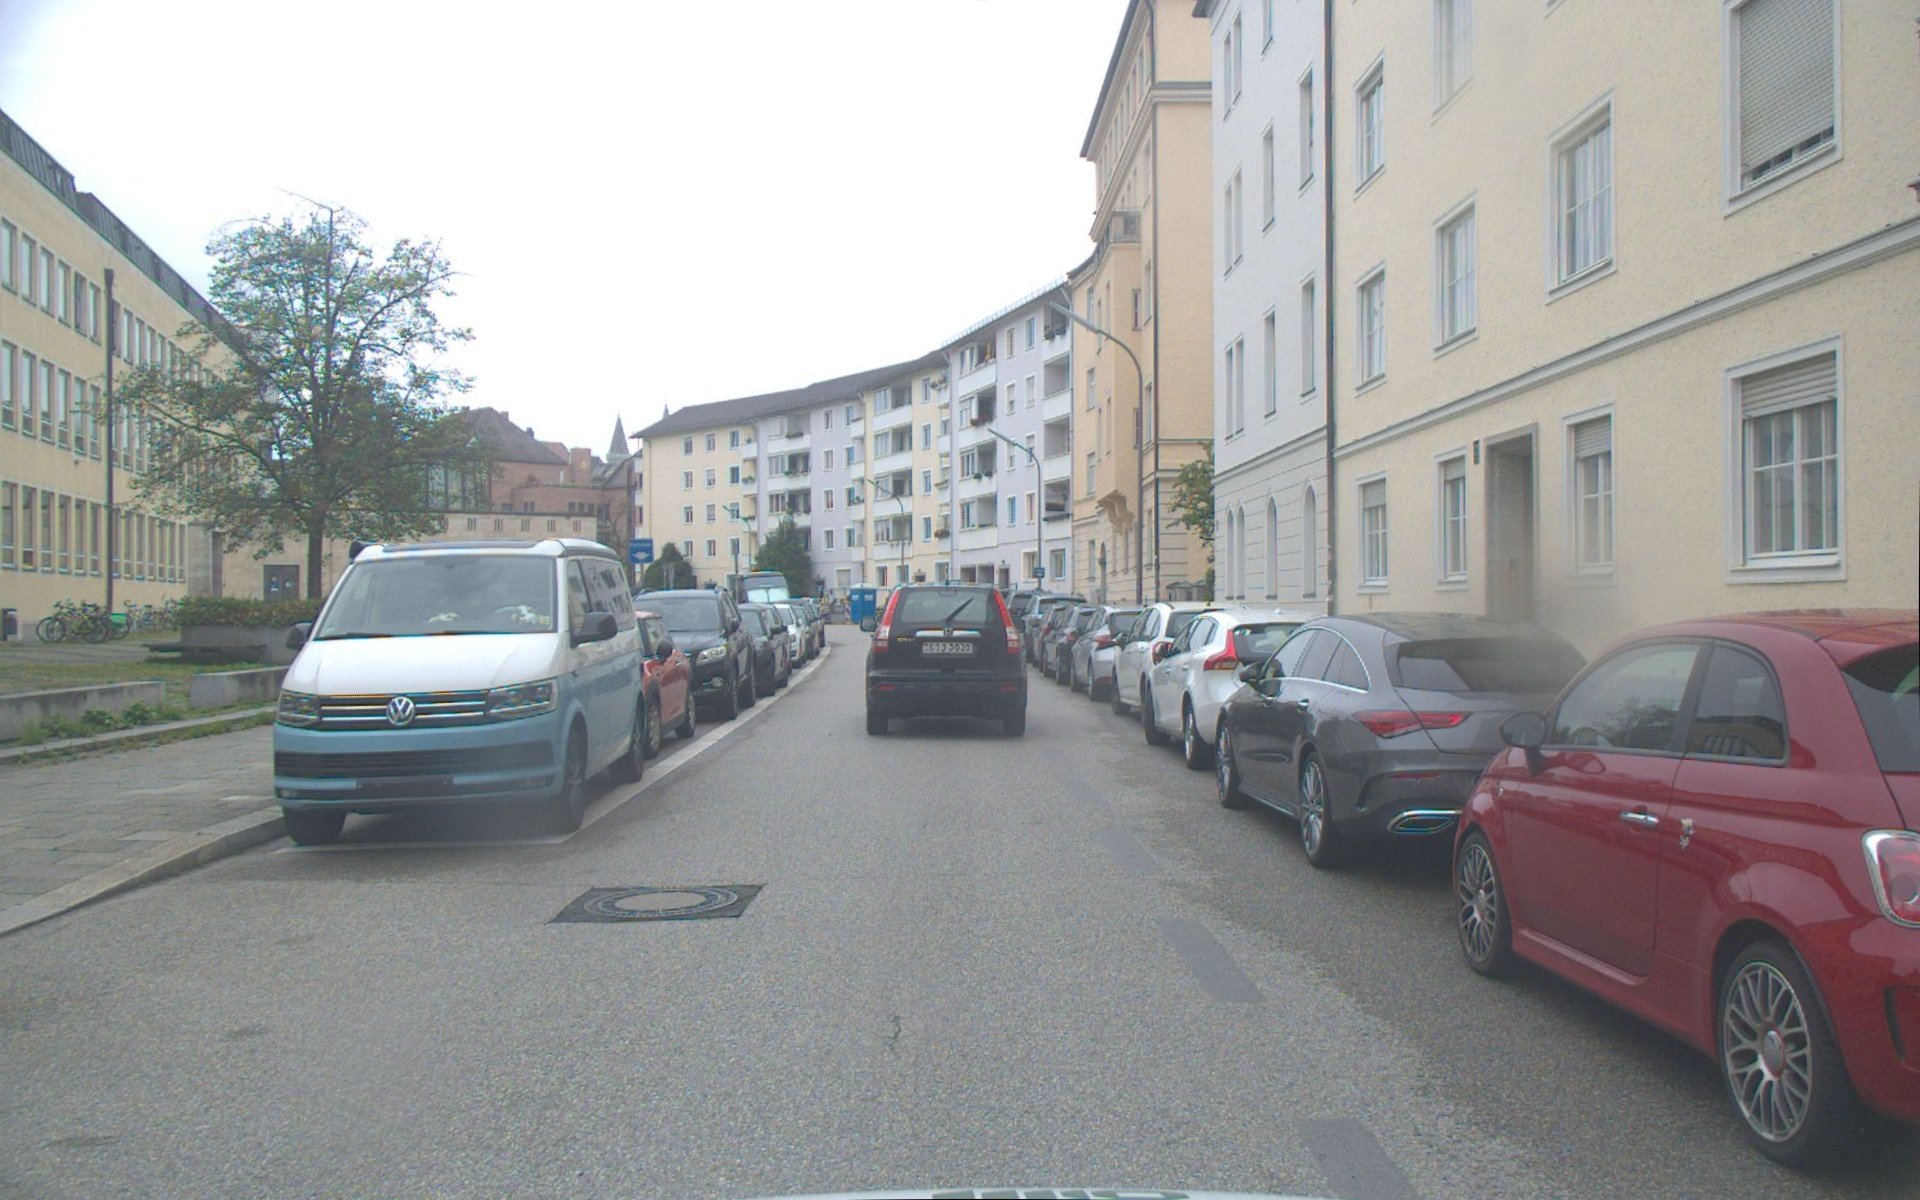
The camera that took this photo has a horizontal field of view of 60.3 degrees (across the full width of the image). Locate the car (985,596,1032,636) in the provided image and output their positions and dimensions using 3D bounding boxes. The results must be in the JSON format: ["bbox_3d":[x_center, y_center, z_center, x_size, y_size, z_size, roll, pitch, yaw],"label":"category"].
[{"bbox_3d":[1.855,0.615,63.774,1.673,1.472,3.829,1,0,0],"label":"car"}]

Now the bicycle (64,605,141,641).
[{"bbox_3d":[-25.239,0.662,48.702,1.914,1.032,0.623,0,0,-15],"label":"bicycle"}]

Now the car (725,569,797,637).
[{"bbox_3d":[-8.444,0.126,69.685,2.128,2.688,5.993,-2,0,-15],"label":"car"}]

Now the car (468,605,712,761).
[{"bbox_3d":[-3.689,0.765,17.147,1.708,1.411,3.917,0,0,-1],"label":"car"}]

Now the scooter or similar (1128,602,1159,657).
[{"bbox_3d":[3.971,0.635,35.786,0.475,1.184,1.171,0,-1,-4],"label":"scooter or similar"}]

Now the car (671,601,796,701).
[{"bbox_3d":[-3.734,0.797,27.806,1.646,1.479,3.868,-2,0,-2],"label":"car"}]

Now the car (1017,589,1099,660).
[{"bbox_3d":[2.406,0.590,41.634,1.687,1.663,4.456,0,0,-2],"label":"car"}]

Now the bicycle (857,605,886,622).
[{"bbox_3d":[-5.781,0.861,107.933,1.841,1.110,0.561,0,0,-23],"label":"bicycle"}]

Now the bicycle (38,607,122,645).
[{"bbox_3d":[-24.128,0.712,45.360,1.912,1.032,0.624,0,0,-12],"label":"bicycle"}]

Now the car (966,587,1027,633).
[{"bbox_3d":[1.487,0.395,68.608,1.745,1.838,4.266,1,0,-9],"label":"car"}]

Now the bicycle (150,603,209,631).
[{"bbox_3d":[-29.488,0.639,62.476,1.912,1.032,0.624,0,0,-12],"label":"bicycle"}]

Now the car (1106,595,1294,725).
[{"bbox_3d":[2.989,0.701,21.362,1.645,1.507,4.165,0,0,-3],"label":"car"}]

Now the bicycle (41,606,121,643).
[{"bbox_3d":[-25.083,0.688,47.225,1.914,1.032,0.623,0,0,-15],"label":"bicycle"}]

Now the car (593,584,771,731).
[{"bbox_3d":[-3.677,0.704,22.610,1.709,1.695,4.447,-4,0,-2],"label":"car"}]

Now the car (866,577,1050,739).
[{"bbox_3d":[-0.130,0.609,19.346,1.854,1.676,3.987,0,0,-4],"label":"car"}]

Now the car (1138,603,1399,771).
[{"bbox_3d":[2.907,0.757,16.523,1.645,1.434,4.441,0,0,-2],"label":"car"}]

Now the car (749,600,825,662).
[{"bbox_3d":[-4.528,0.787,43.750,1.720,1.479,4.393,-2,0,-3],"label":"car"}]

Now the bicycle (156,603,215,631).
[{"bbox_3d":[-28.904,0.617,61.774,1.916,1.032,0.622,0,0,-18],"label":"bicycle"}]

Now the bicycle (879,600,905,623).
[{"bbox_3d":[-4.139,0.689,100.274,0.953,1.413,2.552,0,0,-16],"label":"bicycle"}]

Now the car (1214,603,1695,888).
[{"bbox_3d":[2.865,0.745,10.642,1.645,1.434,4.420,0,0,-2],"label":"car"}]

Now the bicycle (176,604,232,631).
[{"bbox_3d":[-29.957,0.685,65.544,1.915,1.032,0.623,0,0,-16],"label":"bicycle"}]

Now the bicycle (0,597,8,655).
[{"bbox_3d":[-21.927,0.566,35.505,2.397,1.270,1.051,0,0,-18],"label":"bicycle"}]

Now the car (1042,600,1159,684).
[{"bbox_3d":[2.577,0.743,31.175,1.645,1.452,4.389,0,0,-3],"label":"car"}]

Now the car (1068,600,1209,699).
[{"bbox_3d":[2.779,0.738,26.599,1.645,1.452,4.165,0,0,-3],"label":"car"}]

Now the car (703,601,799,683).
[{"bbox_3d":[-4.111,0.791,33.051,1.624,1.479,3.971,-2,0,-4],"label":"car"}]

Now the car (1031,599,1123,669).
[{"bbox_3d":[2.528,0.709,36.516,1.645,1.452,4.085,0,0,-2],"label":"car"}]

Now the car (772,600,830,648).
[{"bbox_3d":[-5.158,0.744,53.624,1.764,1.430,4.450,-2,0,-6],"label":"car"}]

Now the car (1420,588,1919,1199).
[{"bbox_3d":[3.039,0.733,5.858,1.645,1.524,3.822,0,0,-2],"label":"car"}]

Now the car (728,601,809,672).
[{"bbox_3d":[-4.421,0.808,38.621,1.624,1.479,4.069,-2,0,-4],"label":"car"}]

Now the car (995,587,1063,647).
[{"bbox_3d":[2.109,0.512,51.506,1.831,1.747,4.864,1,0,-1],"label":"car"}]

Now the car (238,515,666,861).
[{"bbox_3d":[-3.478,0.527,12.410,1.890,2.013,5.019,-2,0,-4],"label":"car"}]

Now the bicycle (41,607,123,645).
[{"bbox_3d":[-24.464,0.709,46.120,1.914,1.032,0.623,0,0,-15],"label":"bicycle"}]

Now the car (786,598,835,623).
[{"bbox_3d":[-9.495,0.653,104.939,1.705,1.509,3.962,0,0,-29],"label":"car"}]

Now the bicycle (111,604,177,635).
[{"bbox_3d":[-27.757,0.651,56.298,1.910,1.032,0.624,0,0,-8],"label":"bicycle"}]
